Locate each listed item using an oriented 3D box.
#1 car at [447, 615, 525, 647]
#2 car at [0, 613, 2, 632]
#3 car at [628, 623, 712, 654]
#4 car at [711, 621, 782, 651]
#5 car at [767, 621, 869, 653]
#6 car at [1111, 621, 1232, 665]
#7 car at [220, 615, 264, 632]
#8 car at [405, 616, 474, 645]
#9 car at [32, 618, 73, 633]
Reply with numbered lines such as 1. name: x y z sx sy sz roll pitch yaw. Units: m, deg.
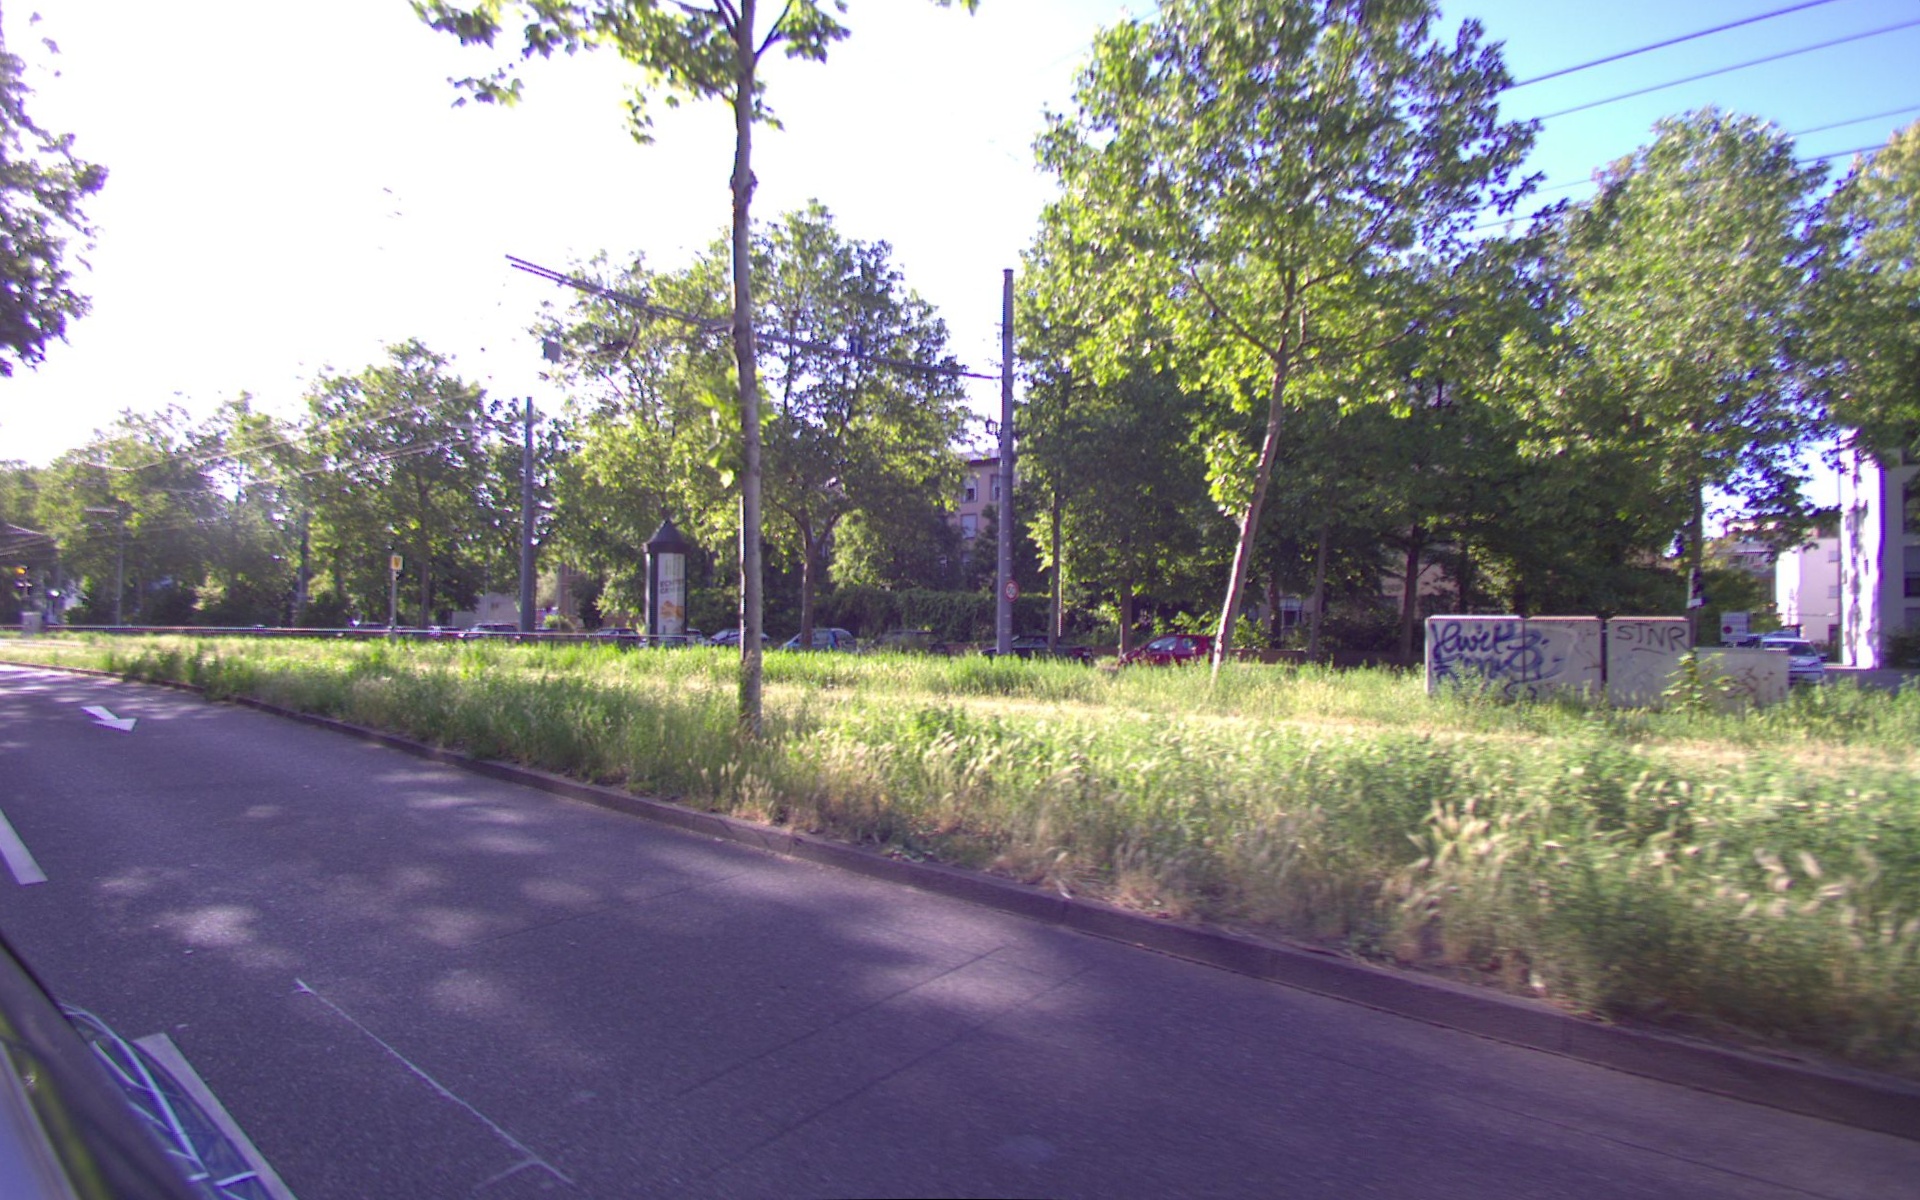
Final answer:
1. car: -26.612 1.721 56.797 4.502 1.696 1.977 -2 -1 34
2. car: -80.833 1.909 83.666 4.040 1.564 1.777 -2 -1 37
3. car: -13.235 1.747 46.110 3.774 1.322 1.753 -2 -1 37
4. car: -9.082 1.521 42.960 2.839 1.209 1.388 0 -2 36
5. car: -5.763 1.453 40.827 3.993 1.187 1.776 -1 0 37
6. car: 6.433 1.284 30.870 3.352 1.238 1.394 0 -2 36
7. car: -54.215 1.760 76.405 3.757 1.231 1.605 -1 -2 37
8. car: -30.859 1.824 59.973 3.990 1.634 1.977 -2 -1 35
9. car: -72.635 2.031 80.949 4.700 1.143 1.673 -2 -1 38
